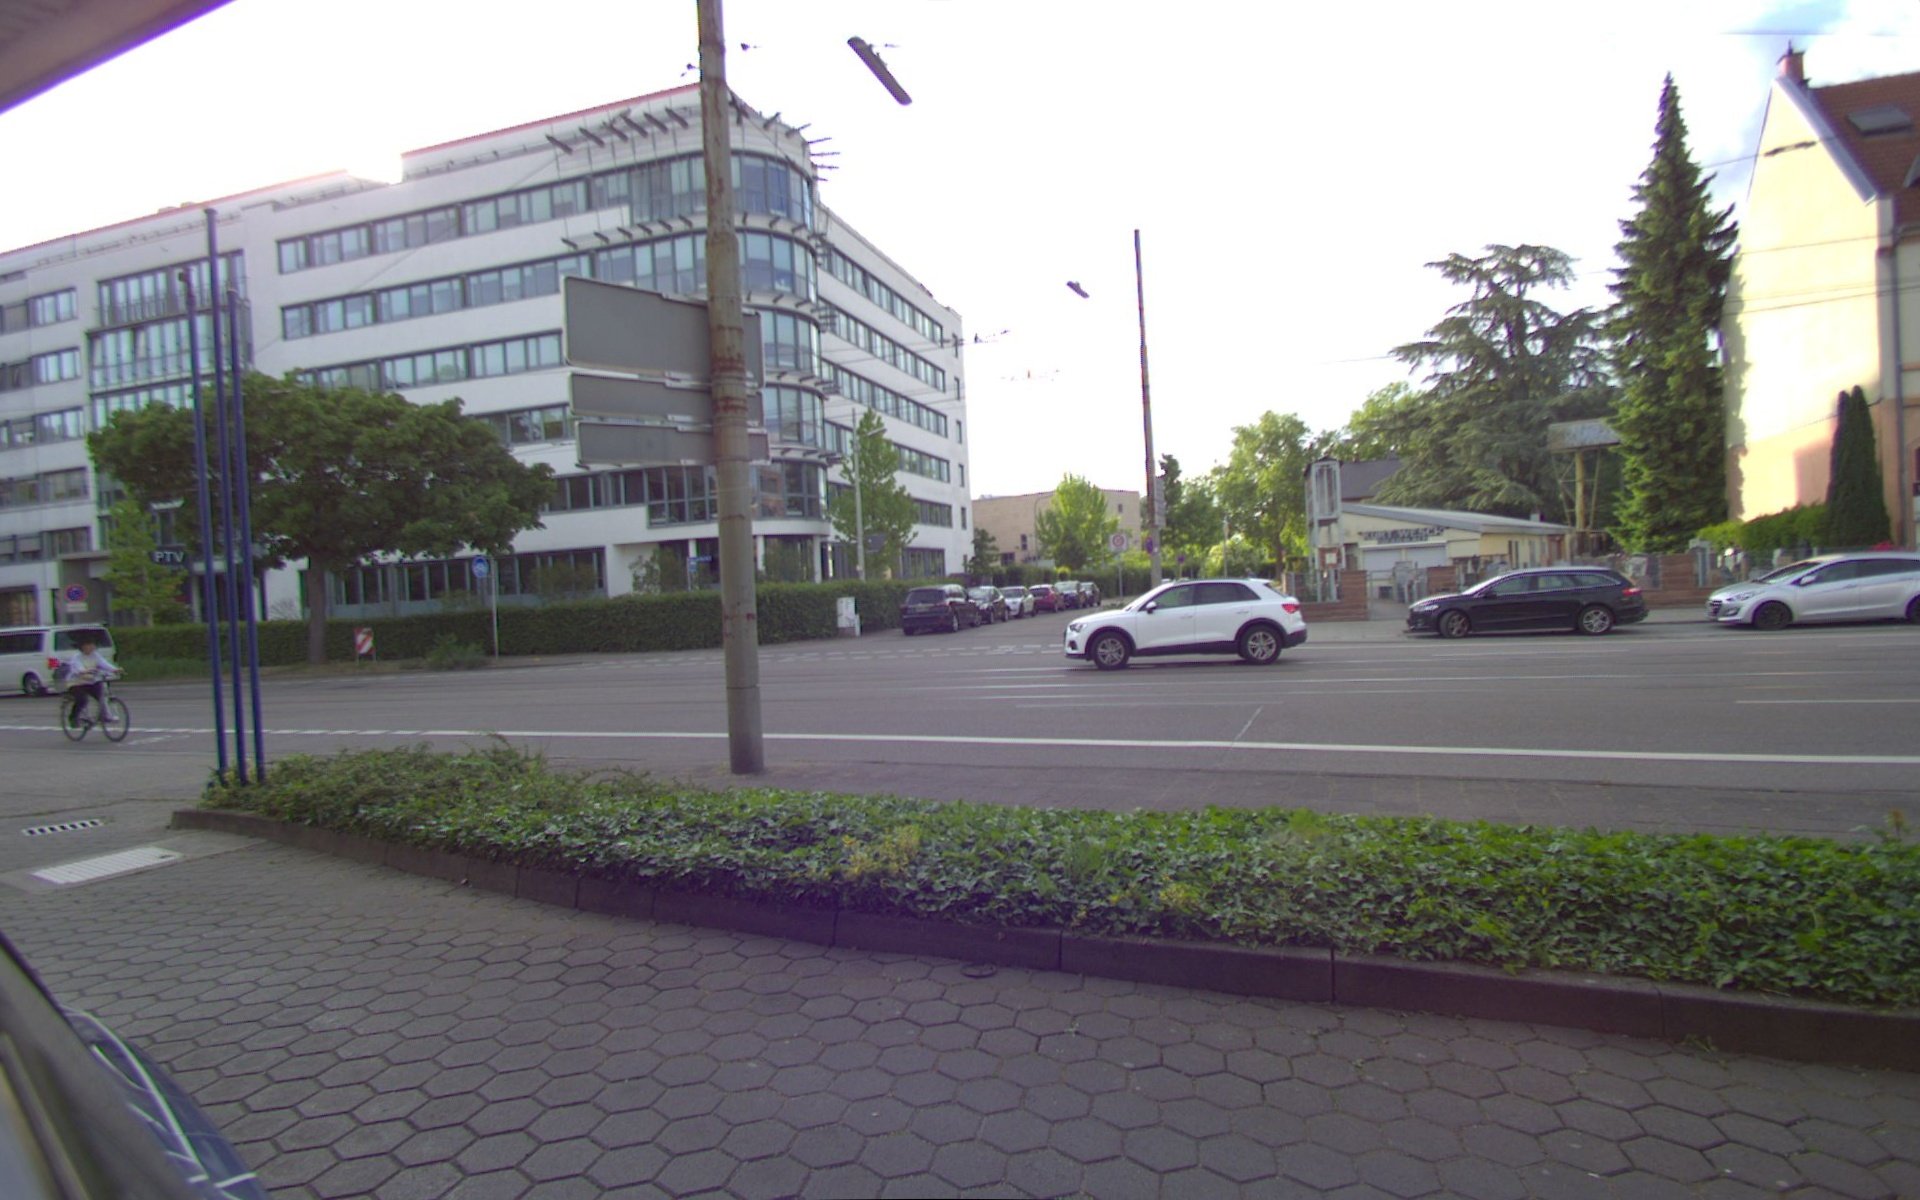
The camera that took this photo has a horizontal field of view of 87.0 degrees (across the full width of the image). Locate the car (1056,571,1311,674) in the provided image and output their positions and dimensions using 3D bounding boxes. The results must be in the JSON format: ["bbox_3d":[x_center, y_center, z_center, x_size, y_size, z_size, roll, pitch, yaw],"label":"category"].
[{"bbox_3d":[4.063,0.424,18.833,4.334,1.588,1.835,-3,-1,10],"label":"car"}]

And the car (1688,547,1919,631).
[{"bbox_3d":[18.489,-0.252,21.497,4.459,1.486,1.986,-4,0,22],"label":"car"}]

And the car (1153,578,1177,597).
[{"bbox_3d":[20.421,-1.250,100.612,1.774,1.653,4.060,-4,0,19],"label":"car"}]

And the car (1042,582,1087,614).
[{"bbox_3d":[5.978,-0.125,57.659,1.773,1.653,4.064,-4,0,17],"label":"car"}]

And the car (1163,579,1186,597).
[{"bbox_3d":[22.560,-1.278,106.310,1.774,1.653,4.060,-4,0,19],"label":"car"}]

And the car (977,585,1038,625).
[{"bbox_3d":[2.203,0.184,45.753,1.773,1.565,4.083,-4,0,17],"label":"car"}]

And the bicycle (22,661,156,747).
[{"bbox_3d":[-14.241,1.695,16.551,1.924,1.267,0.731,-3,2,20],"label":"bicycle"}]

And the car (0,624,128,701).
[{"bbox_3d":[-27.069,1.852,29.507,4.848,1.983,1.989,-3,0,18],"label":"car"}]

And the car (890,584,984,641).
[{"bbox_3d":[-0.725,0.388,35.534,1.962,1.625,4.411,-4,2,17],"label":"car"}]

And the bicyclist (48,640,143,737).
[{"bbox_3d":[-14.089,1.440,16.496,0.910,1.470,0.731,-3,2,20],"label":"bicyclist"}]

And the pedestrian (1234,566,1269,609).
[{"bbox_3d":[12.707,-0.521,44.154,0.988,1.843,1.096,-1,0,-28],"label":"pedestrian"}]

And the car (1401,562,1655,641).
[{"bbox_3d":[12.913,0.049,23.414,4.791,1.507,1.986,-3,0,22],"label":"car"}]

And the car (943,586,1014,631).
[{"bbox_3d":[0.795,0.297,40.892,1.773,1.565,4.083,-4,0,17],"label":"car"}]

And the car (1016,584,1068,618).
[{"bbox_3d":[4.283,0.033,52.358,1.773,1.552,4.018,-4,0,17],"label":"car"}]

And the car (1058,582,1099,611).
[{"bbox_3d":[7.369,-0.221,62.670,1.773,1.653,4.064,-4,0,17],"label":"car"}]
